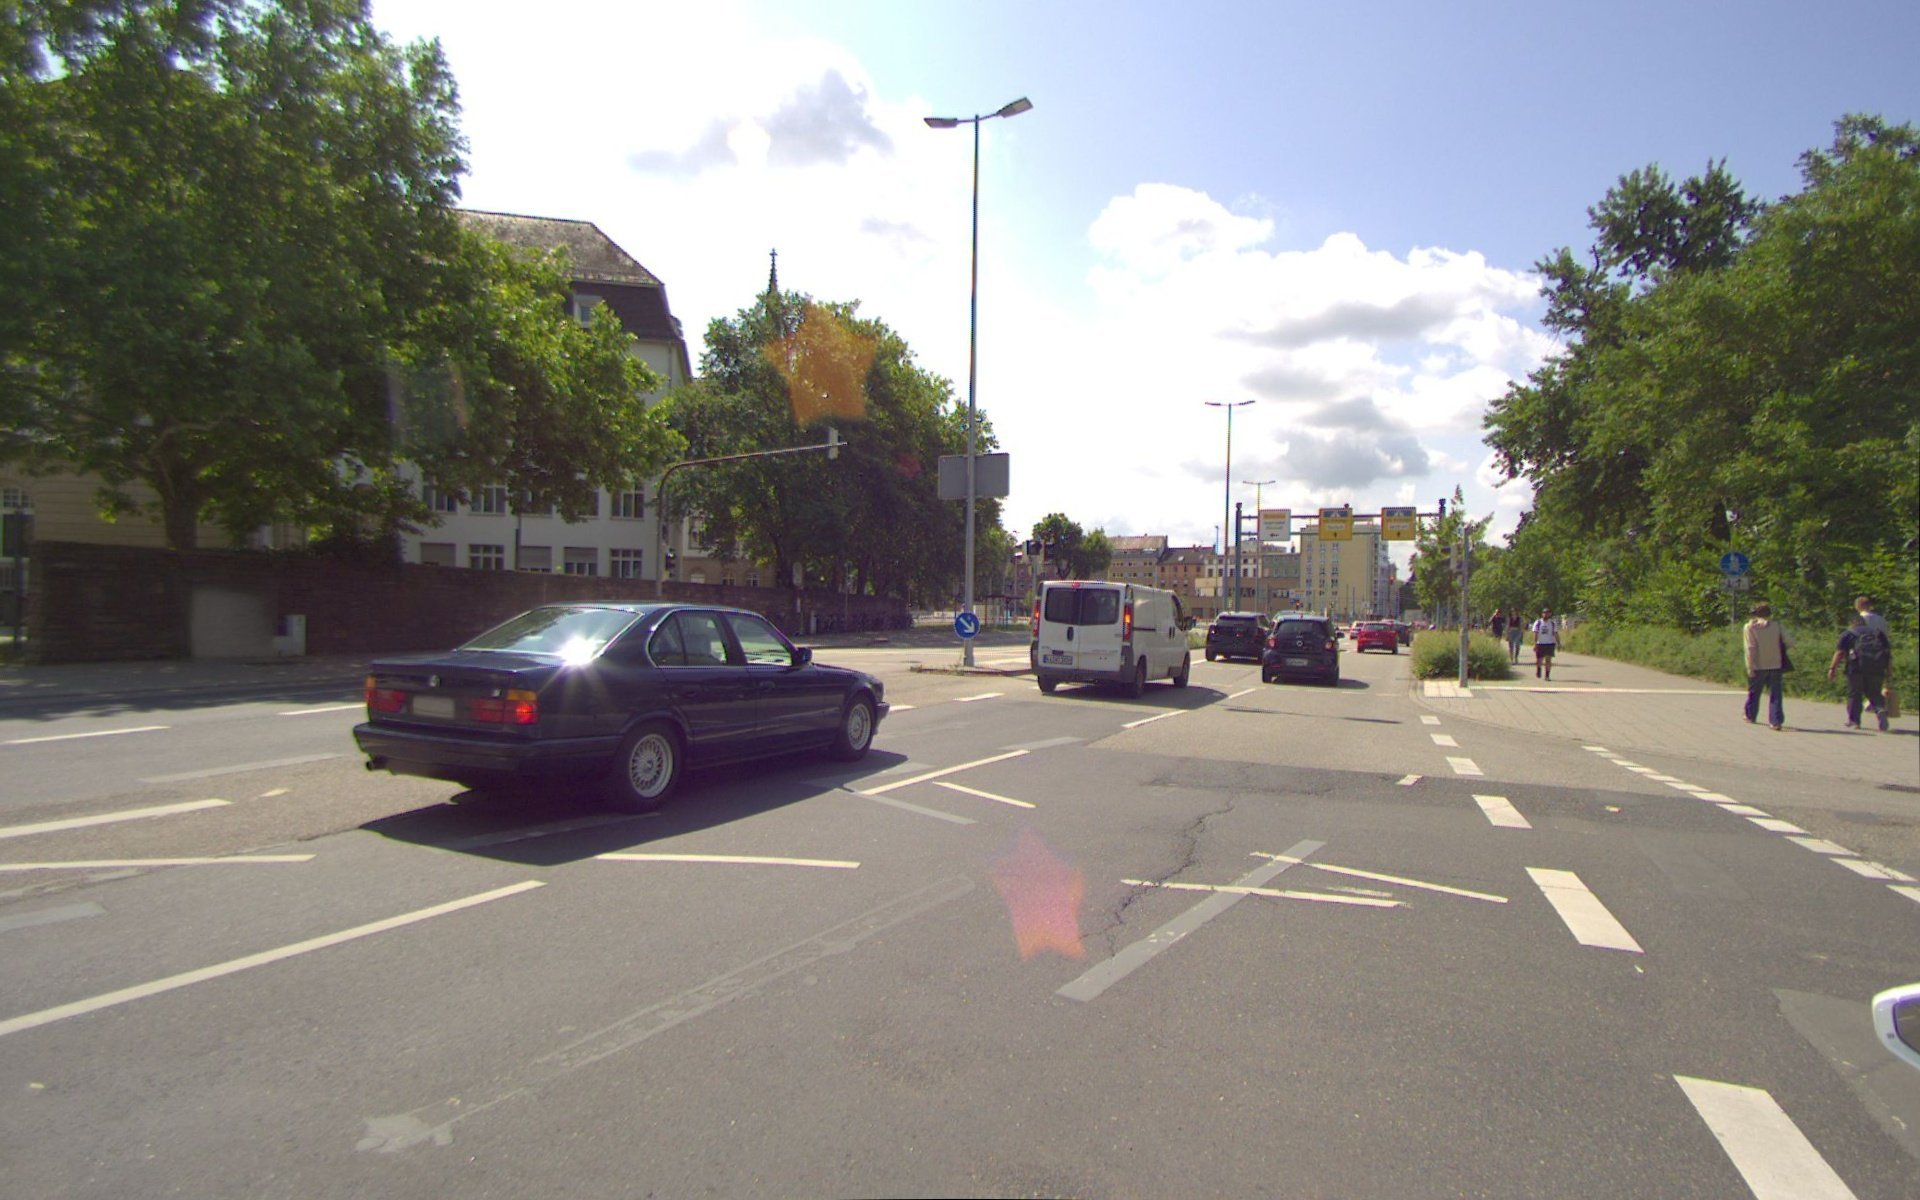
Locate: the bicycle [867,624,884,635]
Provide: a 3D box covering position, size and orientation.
[{"bbox_3d":[-5.374,1.875,63.883,0.991,0.691,0.407,3,0,-18],"label":"bicycle"}]

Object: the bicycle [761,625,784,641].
[{"bbox_3d":[-8.790,1.561,47.170,0.991,0.691,0.407,3,0,-18],"label":"bicycle"}]

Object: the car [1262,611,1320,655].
[{"bbox_3d":[13.377,1.300,40.486,1.798,1.622,4.391,2,0,23],"label":"car"}]

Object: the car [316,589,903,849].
[{"bbox_3d":[-2.287,0.702,8.014,1.665,1.405,4.610,2,0,25],"label":"car"}]

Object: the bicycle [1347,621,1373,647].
[{"bbox_3d":[33.627,2.869,84.519,1.961,2.040,3.999,3,0,21],"label":"bicycle"}]

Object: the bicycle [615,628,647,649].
[{"bbox_3d":[-11.700,1.356,35.710,0.988,0.691,0.408,3,0,-4],"label":"bicycle"}]

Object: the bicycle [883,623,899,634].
[{"bbox_3d":[-4.697,1.943,68.547,0.991,0.691,0.407,3,0,-18],"label":"bicycle"}]

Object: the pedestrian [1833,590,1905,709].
[{"bbox_3d":[14.513,0.768,16.052,0.660,1.845,0.702,1,1,28],"label":"pedestrian"}]

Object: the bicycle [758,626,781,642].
[{"bbox_3d":[-8.806,1.561,46.375,0.991,0.691,0.407,3,0,-18],"label":"bicycle"}]

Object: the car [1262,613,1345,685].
[{"bbox_3d":[8.124,1.095,23.591,1.585,1.504,3.515,2,0,23],"label":"car"}]

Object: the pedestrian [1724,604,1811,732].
[{"bbox_3d":[11.607,0.936,14.471,0.784,1.727,1.180,2,1,31],"label":"pedestrian"}]

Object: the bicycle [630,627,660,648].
[{"bbox_3d":[-11.573,1.371,36.915,0.988,0.691,0.408,3,0,-4],"label":"bicycle"}]

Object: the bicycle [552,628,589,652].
[{"bbox_3d":[-12.554,1.289,32.377,0.988,0.691,0.408,3,0,-4],"label":"bicycle"}]

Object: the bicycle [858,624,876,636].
[{"bbox_3d":[-5.732,1.842,61.752,0.991,0.691,0.407,3,0,-18],"label":"bicycle"}]

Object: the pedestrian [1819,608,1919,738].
[{"bbox_3d":[12.774,0.984,14.152,0.784,1.727,1.180,2,1,31],"label":"pedestrian"}]

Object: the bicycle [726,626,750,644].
[{"bbox_3d":[-9.624,1.516,43.564,0.991,0.691,0.407,3,0,-18],"label":"bicycle"}]

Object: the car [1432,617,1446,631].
[{"bbox_3d":[74.181,3.736,155.510,1.914,1.989,3.946,3,0,27],"label":"car"}]

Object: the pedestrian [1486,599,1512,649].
[{"bbox_3d":[21.831,0.981,40.685,0.825,1.995,0.861,1,0,22],"label":"pedestrian"}]

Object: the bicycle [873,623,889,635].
[{"bbox_3d":[-5.129,1.897,65.231,0.991,0.691,0.407,3,0,-18],"label":"bicycle"}]

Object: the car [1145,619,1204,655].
[{"bbox_3d":[9.629,1.632,44.938,1.721,1.491,3.802,2,-1,26],"label":"car"}]

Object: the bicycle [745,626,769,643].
[{"bbox_3d":[-9.126,1.551,45.116,0.991,0.691,0.407,3,0,-18],"label":"bicycle"}]

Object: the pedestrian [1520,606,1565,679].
[{"bbox_3d":[14.147,1.027,24.420,0.838,1.723,0.931,-1,-1,24],"label":"pedestrian"}]

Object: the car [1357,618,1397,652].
[{"bbox_3d":[18.877,1.550,45.464,1.585,1.430,3.515,1,0,23],"label":"car"}]

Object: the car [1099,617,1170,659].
[{"bbox_3d":[6.893,1.463,39.367,1.721,1.491,3.802,2,-1,26],"label":"car"}]

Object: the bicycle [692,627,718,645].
[{"bbox_3d":[-10.369,1.459,40.821,0.991,0.691,0.407,3,0,-18],"label":"bicycle"}]

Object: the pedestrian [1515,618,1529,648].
[{"bbox_3d":[36.432,2.152,65.141,0.494,1.915,0.560,3,0,-4],"label":"pedestrian"}]

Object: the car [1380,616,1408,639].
[{"bbox_3d":[28.698,1.784,66.415,1.585,1.430,3.515,3,0,23],"label":"car"}]

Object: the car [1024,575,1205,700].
[{"bbox_3d":[3.117,0.649,19.121,1.975,1.981,5.190,2,0,25],"label":"car"}]

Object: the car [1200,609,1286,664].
[{"bbox_3d":[9.134,1.111,32.132,1.985,1.550,4.884,2,0,23],"label":"car"}]

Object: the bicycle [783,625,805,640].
[{"bbox_3d":[-8.207,1.622,49.652,0.991,0.691,0.407,3,0,-18],"label":"bicycle"}]

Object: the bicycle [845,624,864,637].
[{"bbox_3d":[-6.170,1.797,58.741,0.991,0.691,0.407,3,0,-18],"label":"bicycle"}]

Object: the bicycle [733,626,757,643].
[{"bbox_3d":[-9.467,1.528,44.168,0.991,0.691,0.407,3,0,-18],"label":"bicycle"}]

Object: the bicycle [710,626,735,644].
[{"bbox_3d":[-10.077,1.486,42.592,0.991,0.691,0.407,3,0,-18],"label":"bicycle"}]

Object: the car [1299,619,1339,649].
[{"bbox_3d":[17.243,1.597,48.179,1.585,1.343,3.515,1,0,23],"label":"car"}]

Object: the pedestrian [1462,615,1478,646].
[{"bbox_3d":[32.895,1.964,64.845,0.825,1.995,0.861,1,0,22],"label":"pedestrian"}]

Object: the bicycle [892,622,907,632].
[{"bbox_3d":[-4.417,1.931,72.729,0.991,0.691,0.407,3,0,-18],"label":"bicycle"}]

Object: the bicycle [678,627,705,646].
[{"bbox_3d":[-10.538,1.440,39.368,0.991,0.691,0.407,3,0,-18],"label":"bicycle"}]

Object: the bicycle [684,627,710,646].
[{"bbox_3d":[-10.488,1.447,40.058,0.991,0.691,0.407,3,0,-18],"label":"bicycle"}]

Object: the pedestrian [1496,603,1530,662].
[{"bbox_3d":[17.929,1.041,32.570,0.825,1.893,1.019,1,0,22],"label":"pedestrian"}]

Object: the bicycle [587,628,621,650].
[{"bbox_3d":[-12.178,1.323,34.400,0.988,0.691,0.408,3,0,-4],"label":"bicycle"}]
